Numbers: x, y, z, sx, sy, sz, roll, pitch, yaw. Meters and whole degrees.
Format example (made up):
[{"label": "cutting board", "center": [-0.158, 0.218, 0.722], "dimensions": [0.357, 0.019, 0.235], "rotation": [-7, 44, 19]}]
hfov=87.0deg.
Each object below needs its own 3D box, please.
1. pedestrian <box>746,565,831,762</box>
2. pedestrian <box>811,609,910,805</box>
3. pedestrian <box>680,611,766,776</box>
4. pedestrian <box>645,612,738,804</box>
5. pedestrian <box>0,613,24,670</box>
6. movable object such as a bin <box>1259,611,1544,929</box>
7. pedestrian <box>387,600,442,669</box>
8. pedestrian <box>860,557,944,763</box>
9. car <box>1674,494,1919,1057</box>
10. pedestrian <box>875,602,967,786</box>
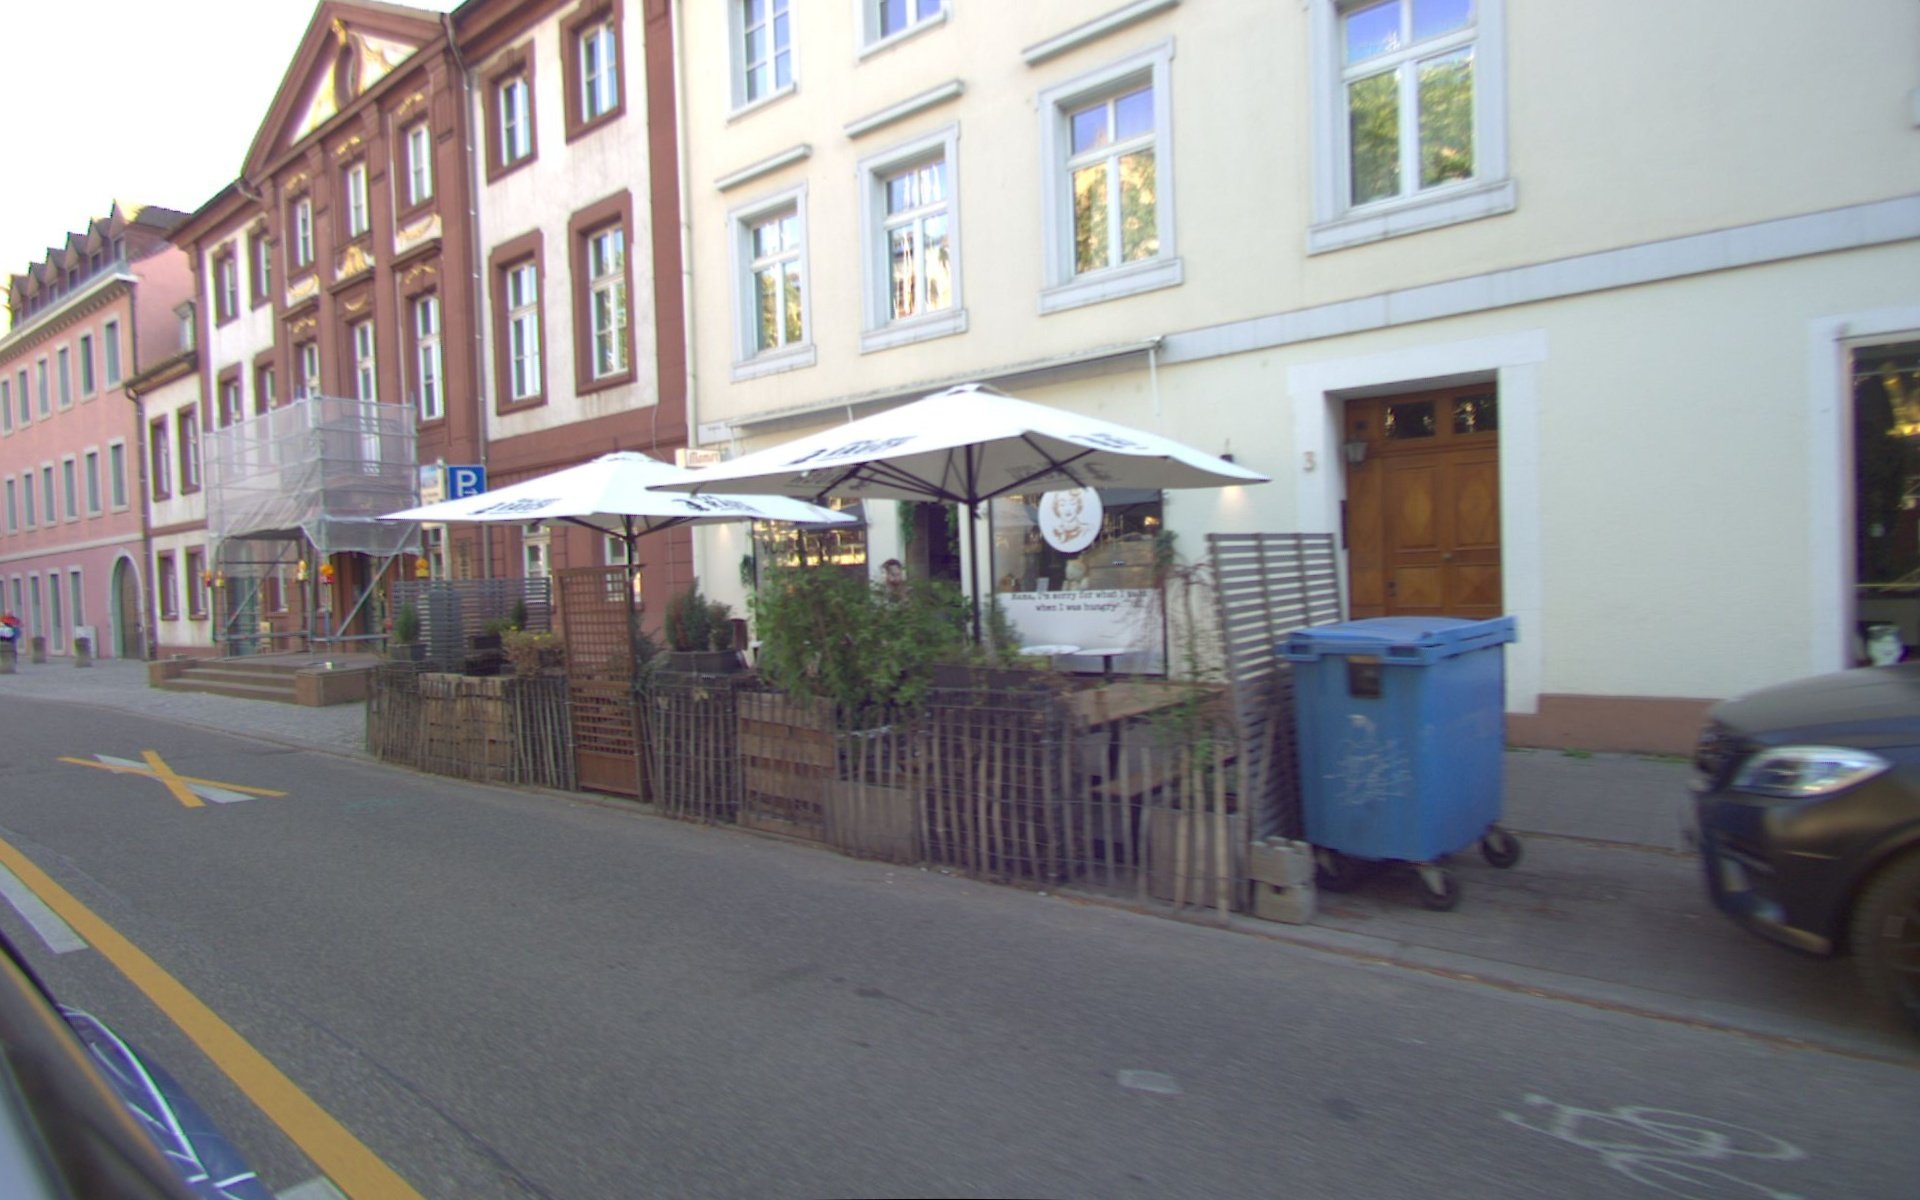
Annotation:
[{"label": "pedestrian", "center": [-1.618, 0.574, 9.553], "dimensions": [0.588, 1.788, 0.439], "rotation": [-3, 1, -43]}, {"label": "pedestrian", "center": [-0.750, 0.780, 7.686], "dimensions": [0.487, 1.401, 0.519], "rotation": [-2, 1, 35]}, {"label": "pedestrian", "center": [-2.122, 0.812, 9.082], "dimensions": [0.487, 1.401, 0.519], "rotation": [-2, 1, 35]}, {"label": "pedestrian", "center": [-2.140, 0.831, 8.061], "dimensions": [0.502, 1.444, 0.465], "rotation": [-1, 1, 43]}, {"label": "pedestrian", "center": [-29.803, 1.299, 31.453], "dimensions": [0.867, 1.701, 0.784], "rotation": [-1, 2, 35]}, {"label": "movable object such as a bin", "center": [2.211, 0.729, 5.031], "dimensions": [0.930, 1.305, 1.203], "rotation": [-1, 1, 43]}, {"label": "pedestrian", "center": [-8.799, 0.554, 16.325], "dimensions": [0.550, 1.060, 0.532], "rotation": [-2, 2, 34]}, {"label": "pedestrian", "center": [-0.531, 0.523, 9.205], "dimensions": [0.432, 1.788, 0.598], "rotation": [-2, 1, -39]}, {"label": "car", "center": [4.850, 0.473, 2.583], "dimensions": [4.782, 1.692, 1.902], "rotation": [-1, 0, 41]}, {"label": "pedestrian", "center": [-0.309, 0.731, 8.163], "dimensions": [0.487, 1.401, 0.519], "rotation": [-2, 1, 35]}]
